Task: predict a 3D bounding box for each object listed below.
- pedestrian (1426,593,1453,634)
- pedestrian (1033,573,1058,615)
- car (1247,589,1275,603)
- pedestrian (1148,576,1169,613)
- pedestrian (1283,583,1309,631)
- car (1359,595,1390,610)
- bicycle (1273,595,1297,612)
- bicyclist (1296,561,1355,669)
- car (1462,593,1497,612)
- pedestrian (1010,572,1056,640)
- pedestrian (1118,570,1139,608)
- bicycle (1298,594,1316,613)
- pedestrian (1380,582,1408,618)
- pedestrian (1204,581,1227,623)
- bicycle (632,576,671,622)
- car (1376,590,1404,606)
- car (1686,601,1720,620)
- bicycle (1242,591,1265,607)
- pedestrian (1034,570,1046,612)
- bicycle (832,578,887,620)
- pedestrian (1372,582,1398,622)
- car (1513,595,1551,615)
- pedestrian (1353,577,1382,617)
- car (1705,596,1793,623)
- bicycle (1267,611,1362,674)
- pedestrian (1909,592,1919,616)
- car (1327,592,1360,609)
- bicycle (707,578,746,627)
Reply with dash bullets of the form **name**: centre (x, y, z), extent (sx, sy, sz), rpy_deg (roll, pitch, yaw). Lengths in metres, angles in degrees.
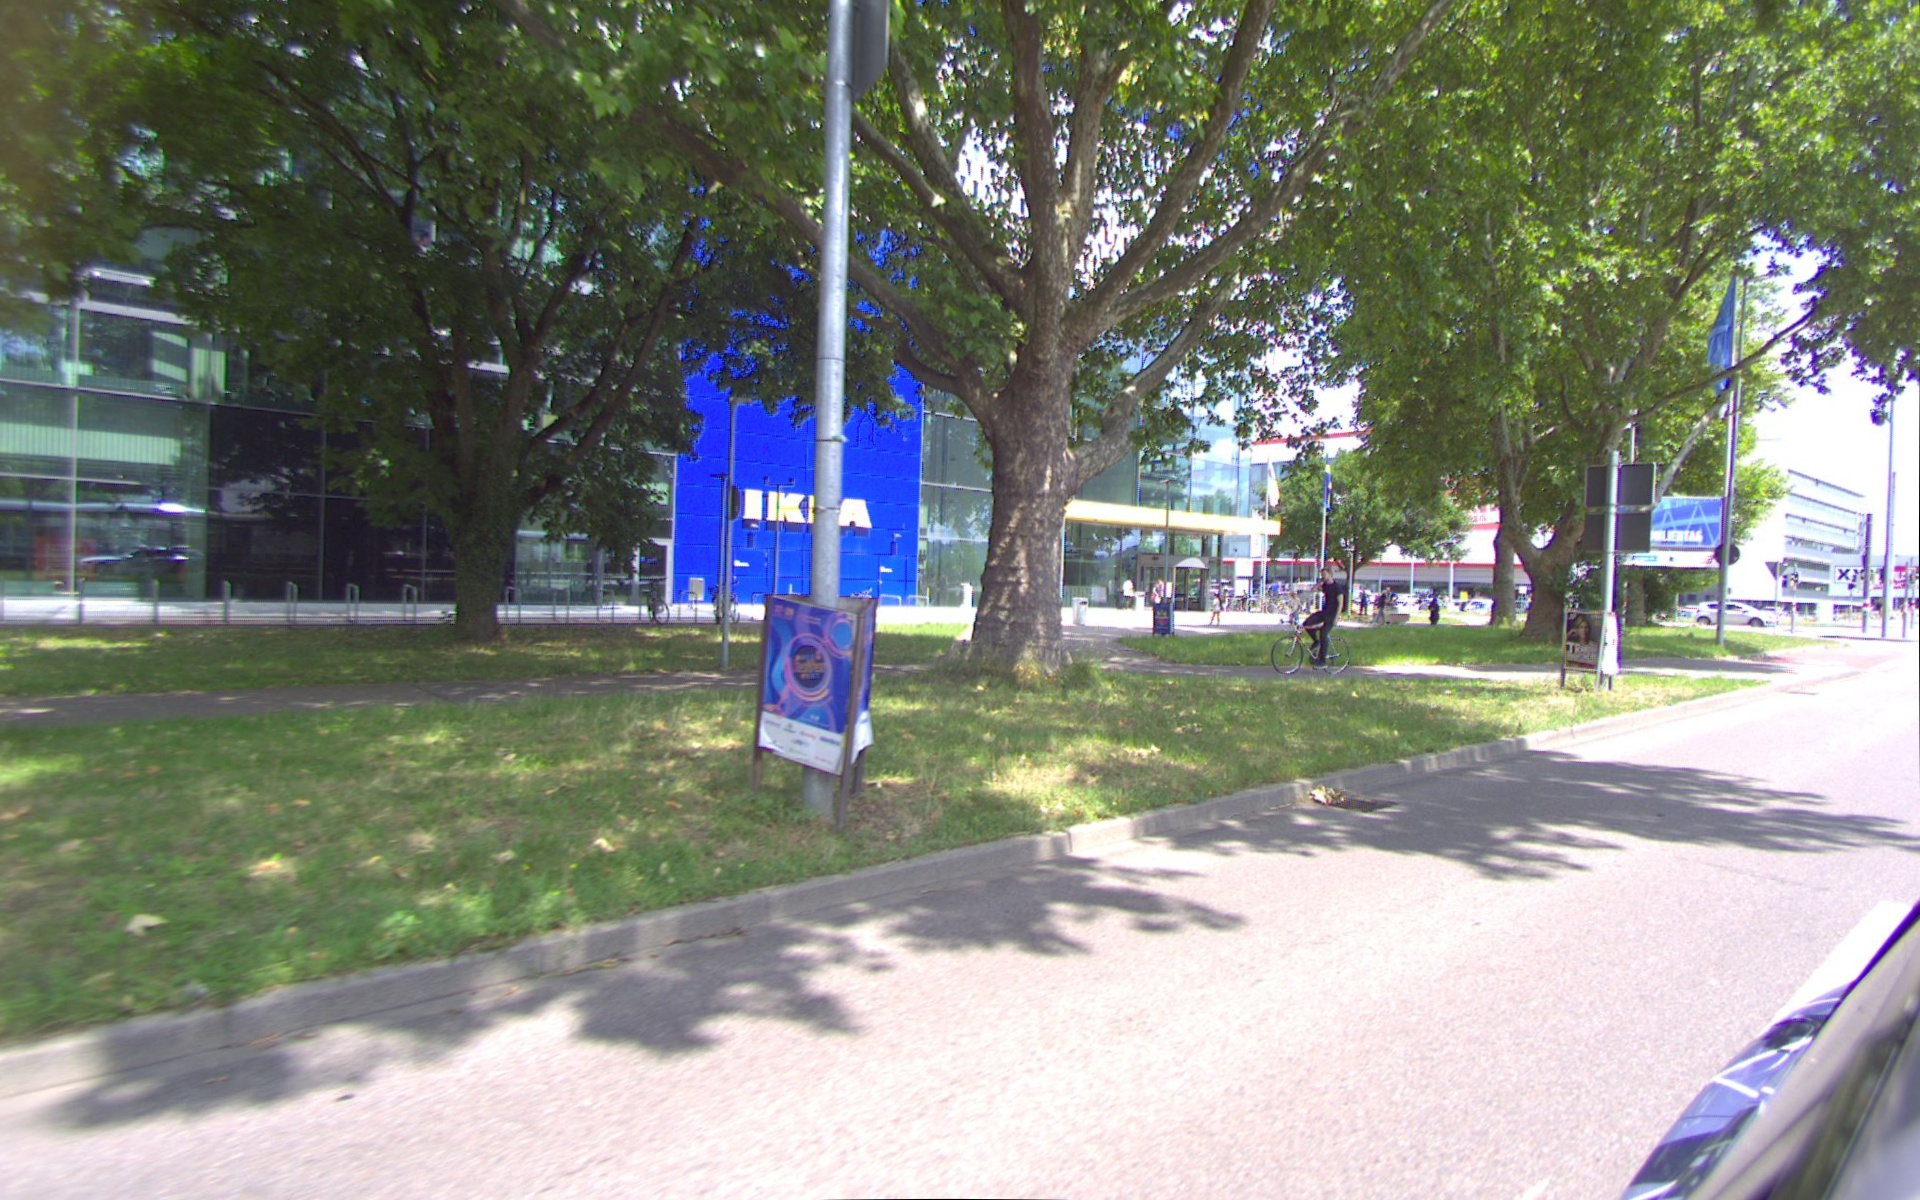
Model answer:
- **pedestrian**: centre (20.904, 0.596, 44.148), extent (0.581, 1.683, 0.720), rpy_deg (3, 2, -34)
- **pedestrian**: centre (3.440, -0.250, 40.799), extent (0.875, 1.684, 0.782), rpy_deg (0, 0, 15)
- **car**: centre (45.876, -0.637, 154.045), extent (4.283, 2.014, 1.999), rpy_deg (1, 1, -39)
- **pedestrian**: centre (9.313, -0.282, 47.514), extent (0.795, 1.684, 0.698), rpy_deg (3, 1, 22)
- **pedestrian**: centre (12.984, 0.264, 39.068), extent (0.656, 1.794, 0.666), rpy_deg (1, 1, -36)
- **car**: centre (57.265, 0.350, 139.820), extent (4.283, 2.013, 1.999), rpy_deg (1, 2, -39)
- **bicycle**: centre (20.059, 0.205, 62.396), extent (1.833, 1.007, 0.424), rpy_deg (2, 0, -36)
- **bicyclist**: centre (6.532, 0.270, 18.073), extent (0.907, 1.870, 0.611), rpy_deg (1, -1, -38)
- **car**: centre (60.539, 0.310, 117.924), extent (4.283, 2.014, 1.999), rpy_deg (1, 1, -39)
- **pedestrian**: centre (1.896, 0.140, 26.191), extent (0.875, 1.717, 0.777), rpy_deg (1, 0, -39)
- **pedestrian**: centre (8.597, -0.558, 51.596), extent (0.766, 1.909, 0.619), rpy_deg (2, 0, -29)
- **bicycle**: centre (21.141, 0.230, 61.707), extent (0.501, 1.121, 1.902), rpy_deg (4, 1, 34)
- **pedestrian**: centre (23.866, 0.007, 55.653), extent (0.990, 1.925, 0.976), rpy_deg (2, 1, -23)
- **pedestrian**: centre (10.498, 0.097, 41.568), extent (0.654, 1.638, 0.590), rpy_deg (4, -7, -42)
- **bicycle**: centre (-8.429, -0.047, 27.728), extent (0.878, 1.135, 2.785), rpy_deg (2, 2, -14)
- **car**: centre (58.600, -0.249, 137.900), extent (3.927, 2.039, 1.776), rpy_deg (1, 0, -39)
- **car**: centre (83.541, 1.228, 113.779), extent (4.283, 2.014, 1.999), rpy_deg (1, 1, -39)
- **bicycle**: centre (18.633, -0.059, 64.259), extent (1.836, 1.007, 0.464), rpy_deg (1, 0, -42)
- **pedestrian**: centre (3.315, -0.371, 42.064), extent (0.413, 1.723, 0.544), rpy_deg (2, 0, -1)
- **bicycle**: centre (-3.218, -0.047, 32.149), extent (0.680, 1.190, 2.530), rpy_deg (1, 2, -31)
- **pedestrian**: centre (21.447, 0.095, 51.044), extent (0.872, 1.909, 0.972), rpy_deg (3, 1, 7)
- **car**: centre (61.610, 0.522, 108.962), extent (4.514, 2.013, 1.999), rpy_deg (0, 2, -39)
- **pedestrian**: centre (22.068, -0.148, 54.862), extent (0.990, 2.098, 0.976), rpy_deg (2, 1, -23)
- **car**: centre (46.256, 0.509, 59.366), extent (1.868, 1.488, 3.827), rpy_deg (-1, 1, -41)
- **bicycle**: centre (6.283, 0.730, 17.875), extent (1.987, 1.012, 0.621), rpy_deg (-1, 1, -39)
- **pedestrian**: centre (76.883, 0.321, 81.157), extent (0.858, 1.860, 0.792), rpy_deg (1, 2, 24)
- **car**: centre (48.162, 0.027, 126.981), extent (4.284, 2.014, 1.999), rpy_deg (0, 1, -39)
- **bicycle**: centre (-6.601, 0.023, 28.552), extent (0.966, 1.190, 3.848), rpy_deg (2, 2, -14)
